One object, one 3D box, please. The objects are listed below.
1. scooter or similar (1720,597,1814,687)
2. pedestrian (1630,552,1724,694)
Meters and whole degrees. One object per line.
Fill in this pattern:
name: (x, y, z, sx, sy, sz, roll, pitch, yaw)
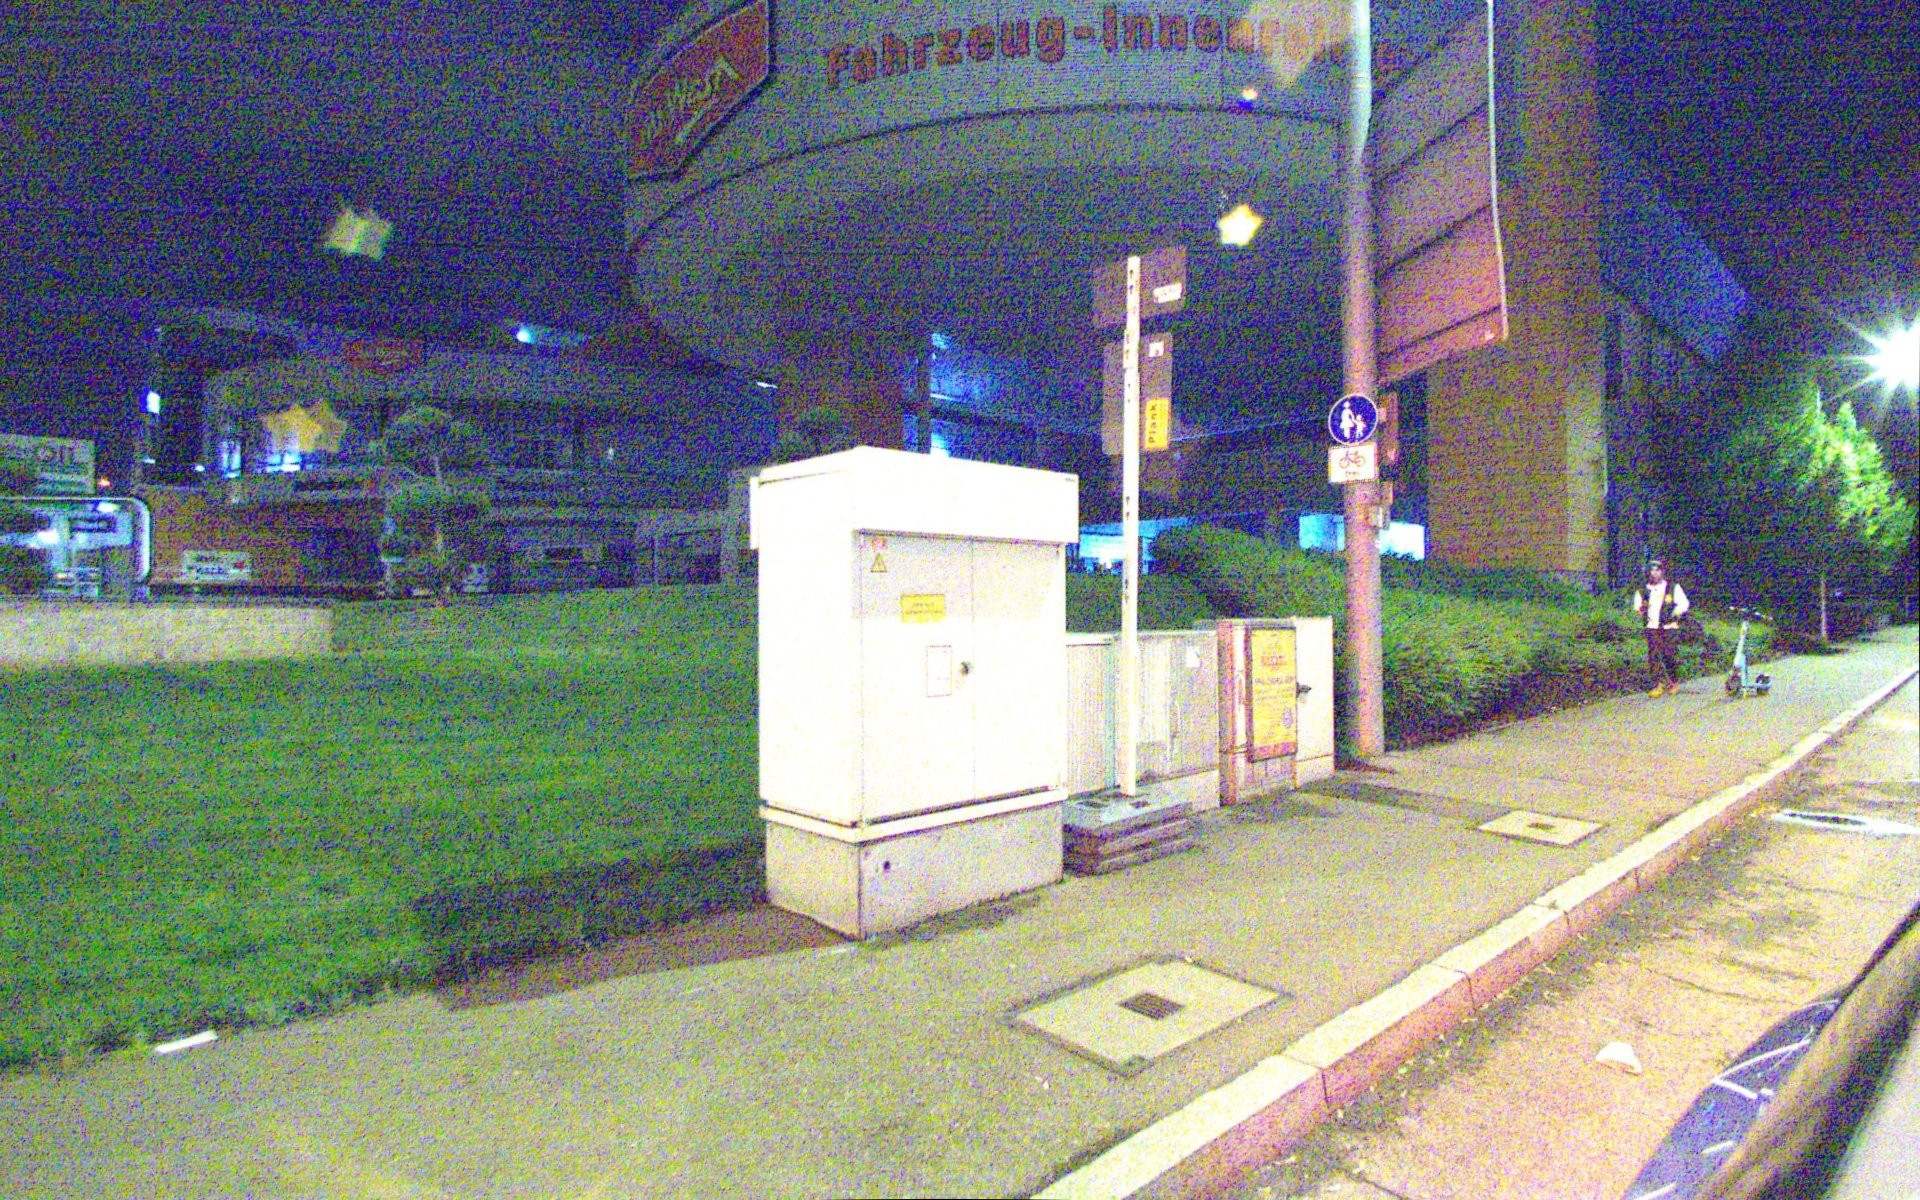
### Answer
scooter or similar: (11.191, 0.578, 14.031, 1.111, 1.217, 0.470, 1, -1, -17)
pedestrian: (9.978, 0.292, 14.087, 1.016, 1.888, 0.819, 0, 1, -41)
